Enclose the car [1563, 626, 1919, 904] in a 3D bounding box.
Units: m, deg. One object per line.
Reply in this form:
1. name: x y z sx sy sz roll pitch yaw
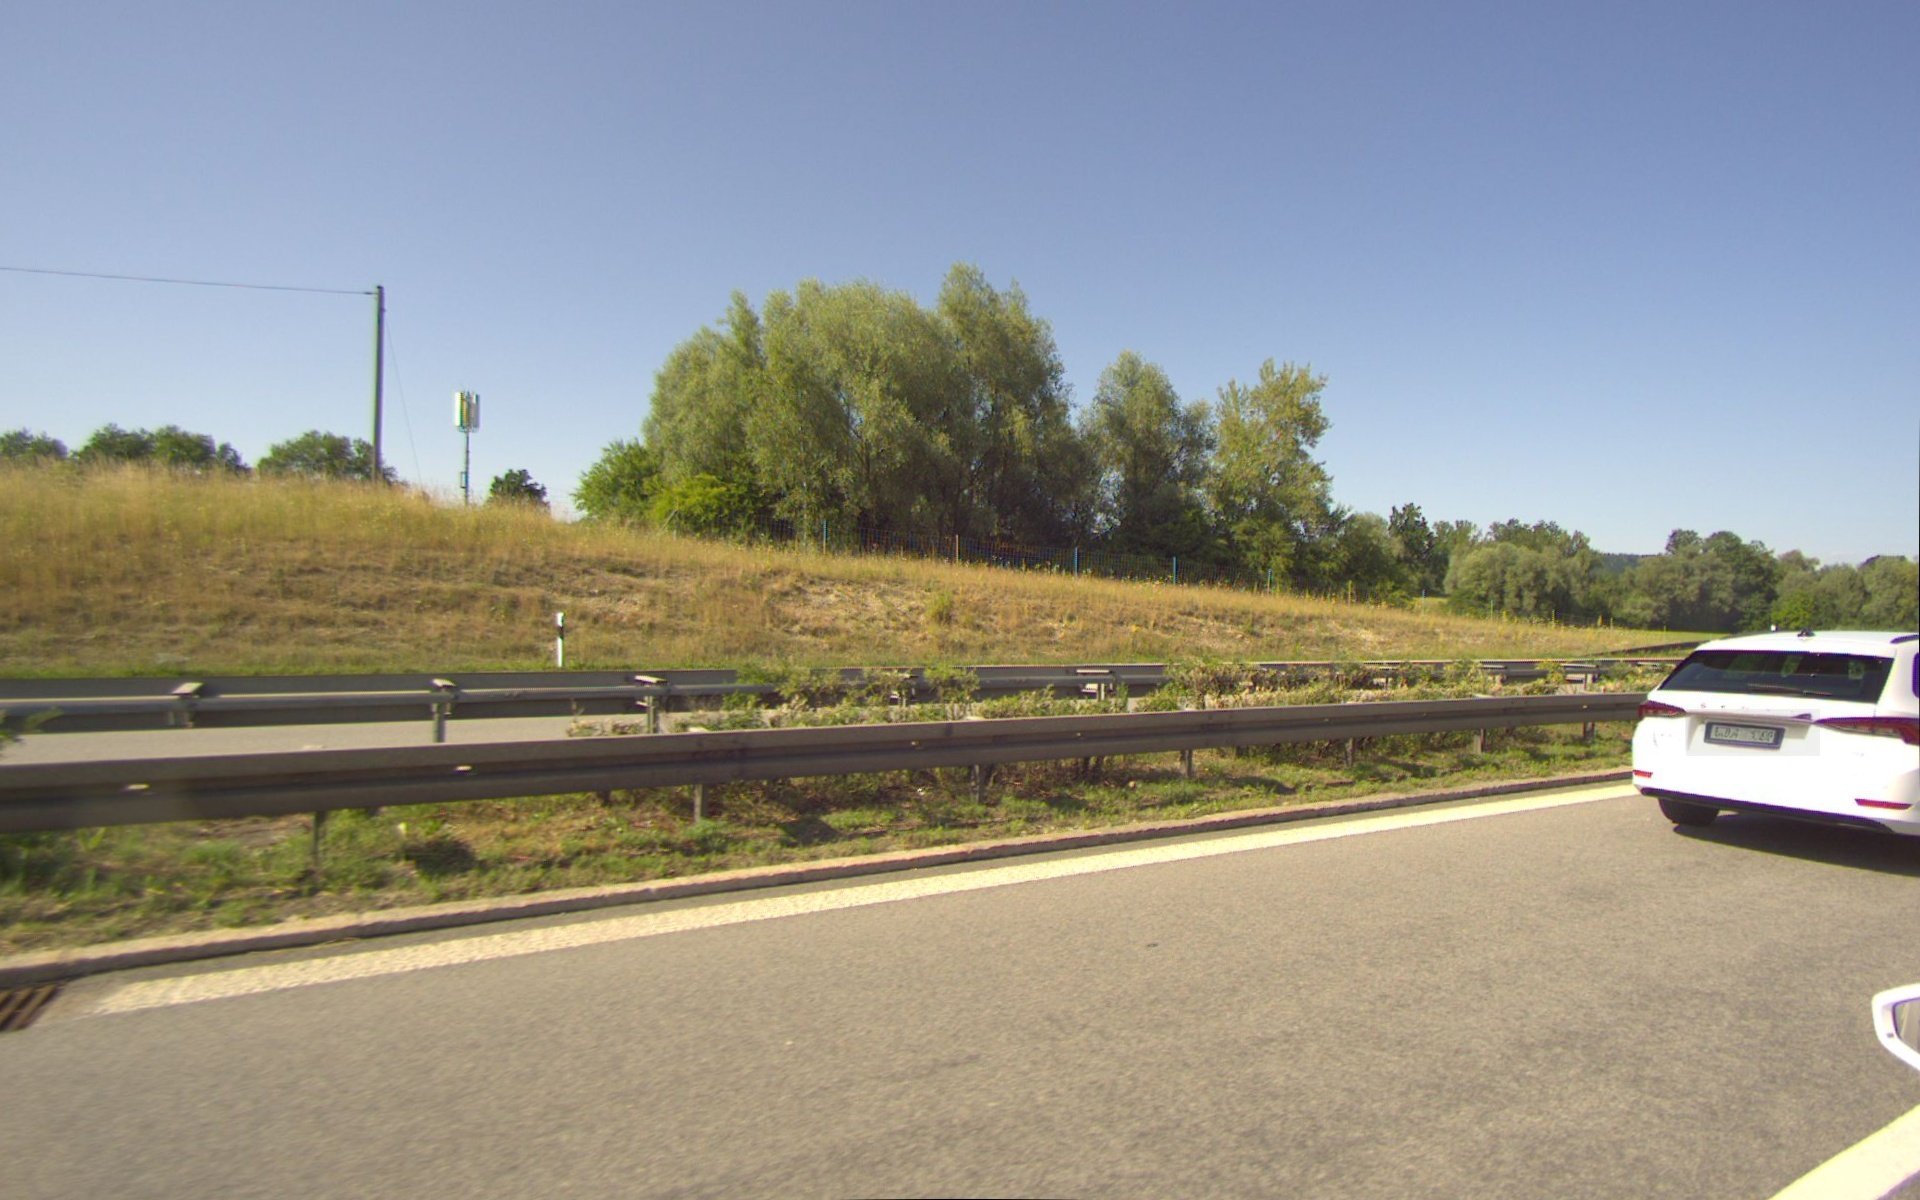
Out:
1. car: 6.879 0.963 7.476 5.192 1.440 1.831 1 -1 -30
